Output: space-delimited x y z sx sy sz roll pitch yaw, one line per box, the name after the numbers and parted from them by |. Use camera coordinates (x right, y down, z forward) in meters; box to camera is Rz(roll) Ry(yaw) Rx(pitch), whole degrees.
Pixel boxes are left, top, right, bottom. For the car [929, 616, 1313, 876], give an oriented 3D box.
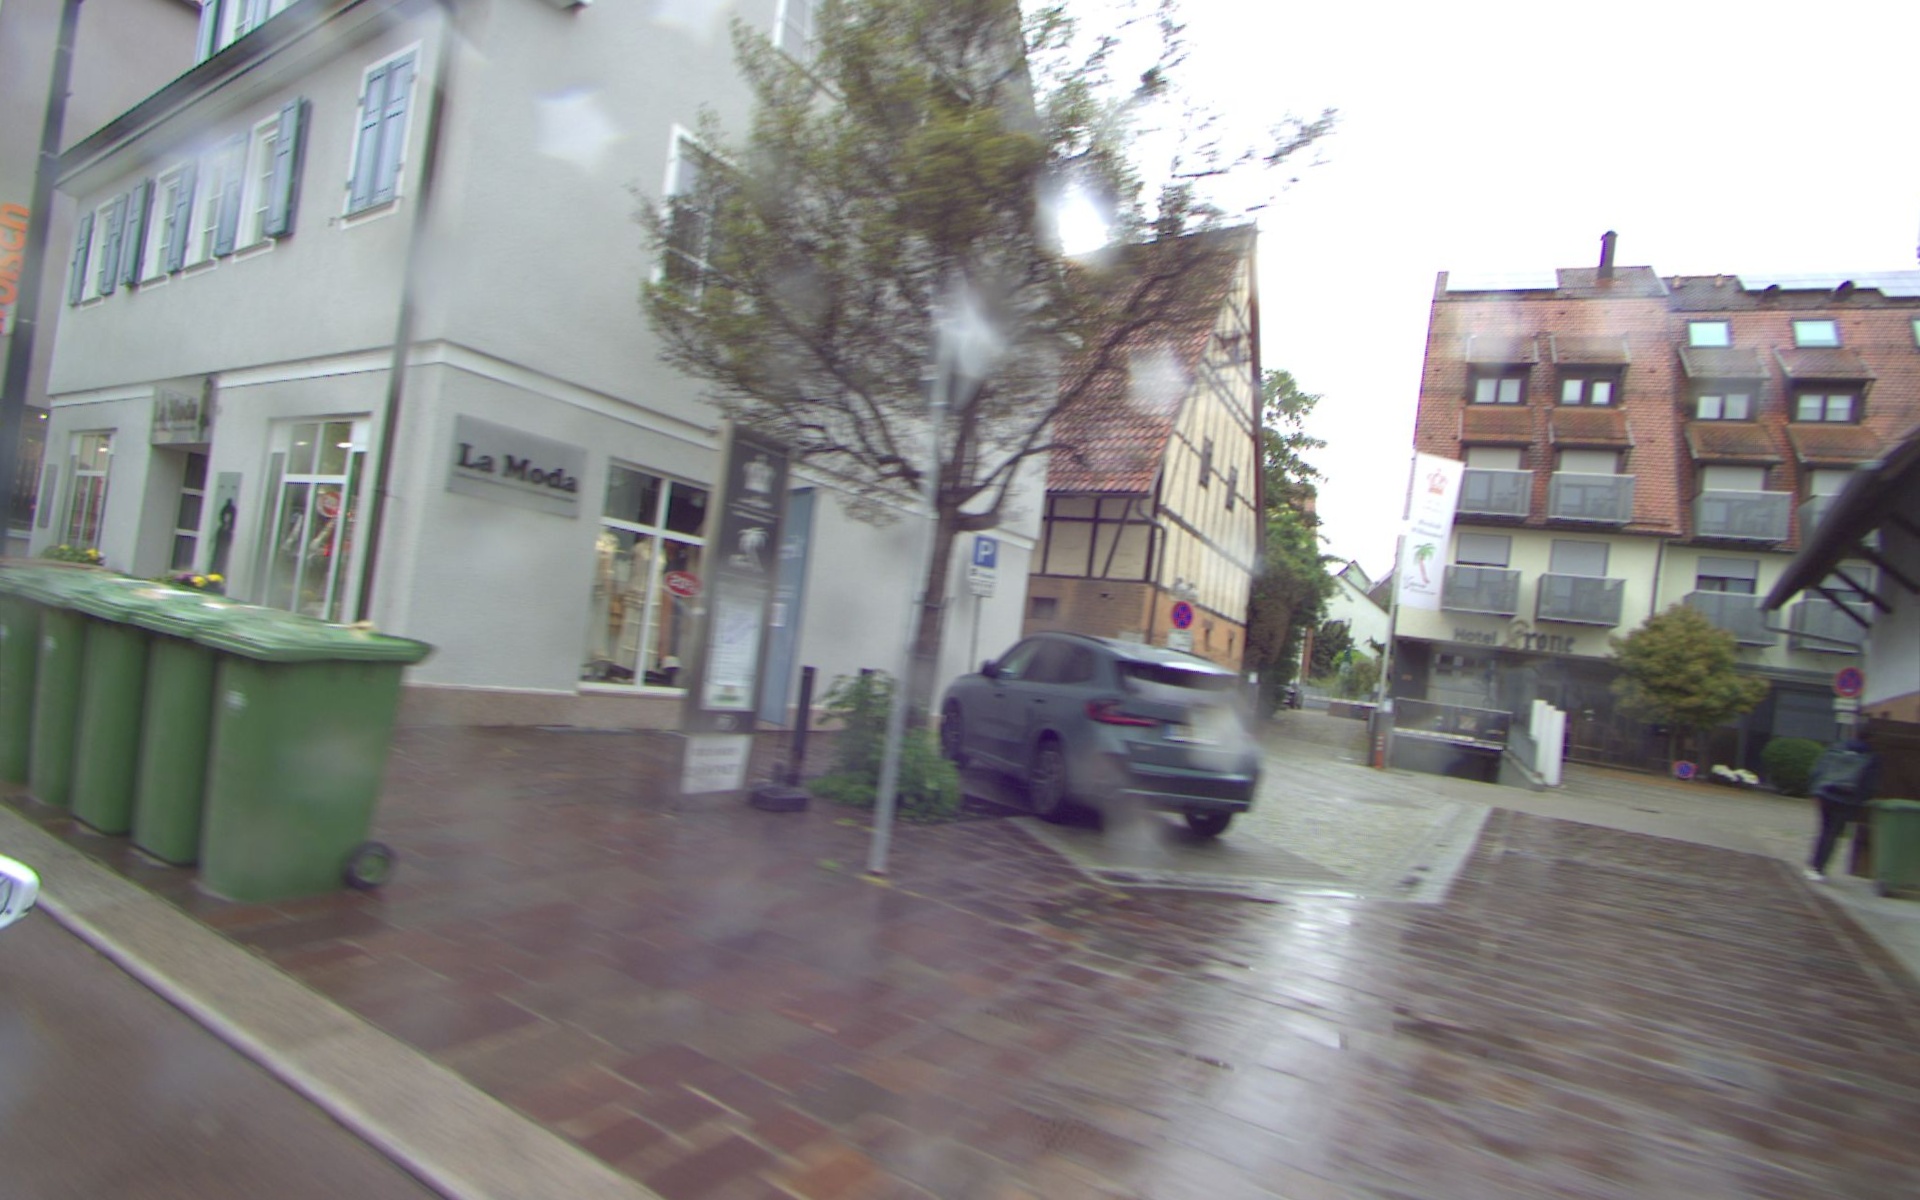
1.249 1.214 9.921 1.798 1.675 4.342 8 0 -18 | car

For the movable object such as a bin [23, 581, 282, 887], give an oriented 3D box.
-3.769 0.604 4.722 0.534 1.270 0.679 6 -2 31 | movable object such as a bin

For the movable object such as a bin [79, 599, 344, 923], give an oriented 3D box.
-3.296 0.679 4.458 0.534 1.259 0.659 6 -2 31 | movable object such as a bin

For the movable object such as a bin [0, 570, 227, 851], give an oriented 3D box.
-4.243 0.533 5.003 0.555 1.246 0.679 6 -2 31 | movable object such as a bin

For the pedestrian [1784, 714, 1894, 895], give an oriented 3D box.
10.233 2.359 11.726 0.503 1.943 0.572 8 0 2 | pedestrian

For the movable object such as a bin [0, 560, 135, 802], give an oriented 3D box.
-5.270 0.431 5.633 0.719 1.255 0.679 6 -2 31 | movable object such as a bin

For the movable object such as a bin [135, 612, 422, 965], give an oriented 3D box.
-2.802 0.734 4.165 0.611 1.252 0.659 6 -2 31 | movable object such as a bin

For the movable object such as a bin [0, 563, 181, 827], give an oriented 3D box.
-4.718 0.488 5.308 0.555 1.264 0.679 6 -2 31 | movable object such as a bin

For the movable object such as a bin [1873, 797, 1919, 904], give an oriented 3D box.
10.685 2.810 11.287 0.563 1.092 0.539 9 -2 -43 | movable object such as a bin
